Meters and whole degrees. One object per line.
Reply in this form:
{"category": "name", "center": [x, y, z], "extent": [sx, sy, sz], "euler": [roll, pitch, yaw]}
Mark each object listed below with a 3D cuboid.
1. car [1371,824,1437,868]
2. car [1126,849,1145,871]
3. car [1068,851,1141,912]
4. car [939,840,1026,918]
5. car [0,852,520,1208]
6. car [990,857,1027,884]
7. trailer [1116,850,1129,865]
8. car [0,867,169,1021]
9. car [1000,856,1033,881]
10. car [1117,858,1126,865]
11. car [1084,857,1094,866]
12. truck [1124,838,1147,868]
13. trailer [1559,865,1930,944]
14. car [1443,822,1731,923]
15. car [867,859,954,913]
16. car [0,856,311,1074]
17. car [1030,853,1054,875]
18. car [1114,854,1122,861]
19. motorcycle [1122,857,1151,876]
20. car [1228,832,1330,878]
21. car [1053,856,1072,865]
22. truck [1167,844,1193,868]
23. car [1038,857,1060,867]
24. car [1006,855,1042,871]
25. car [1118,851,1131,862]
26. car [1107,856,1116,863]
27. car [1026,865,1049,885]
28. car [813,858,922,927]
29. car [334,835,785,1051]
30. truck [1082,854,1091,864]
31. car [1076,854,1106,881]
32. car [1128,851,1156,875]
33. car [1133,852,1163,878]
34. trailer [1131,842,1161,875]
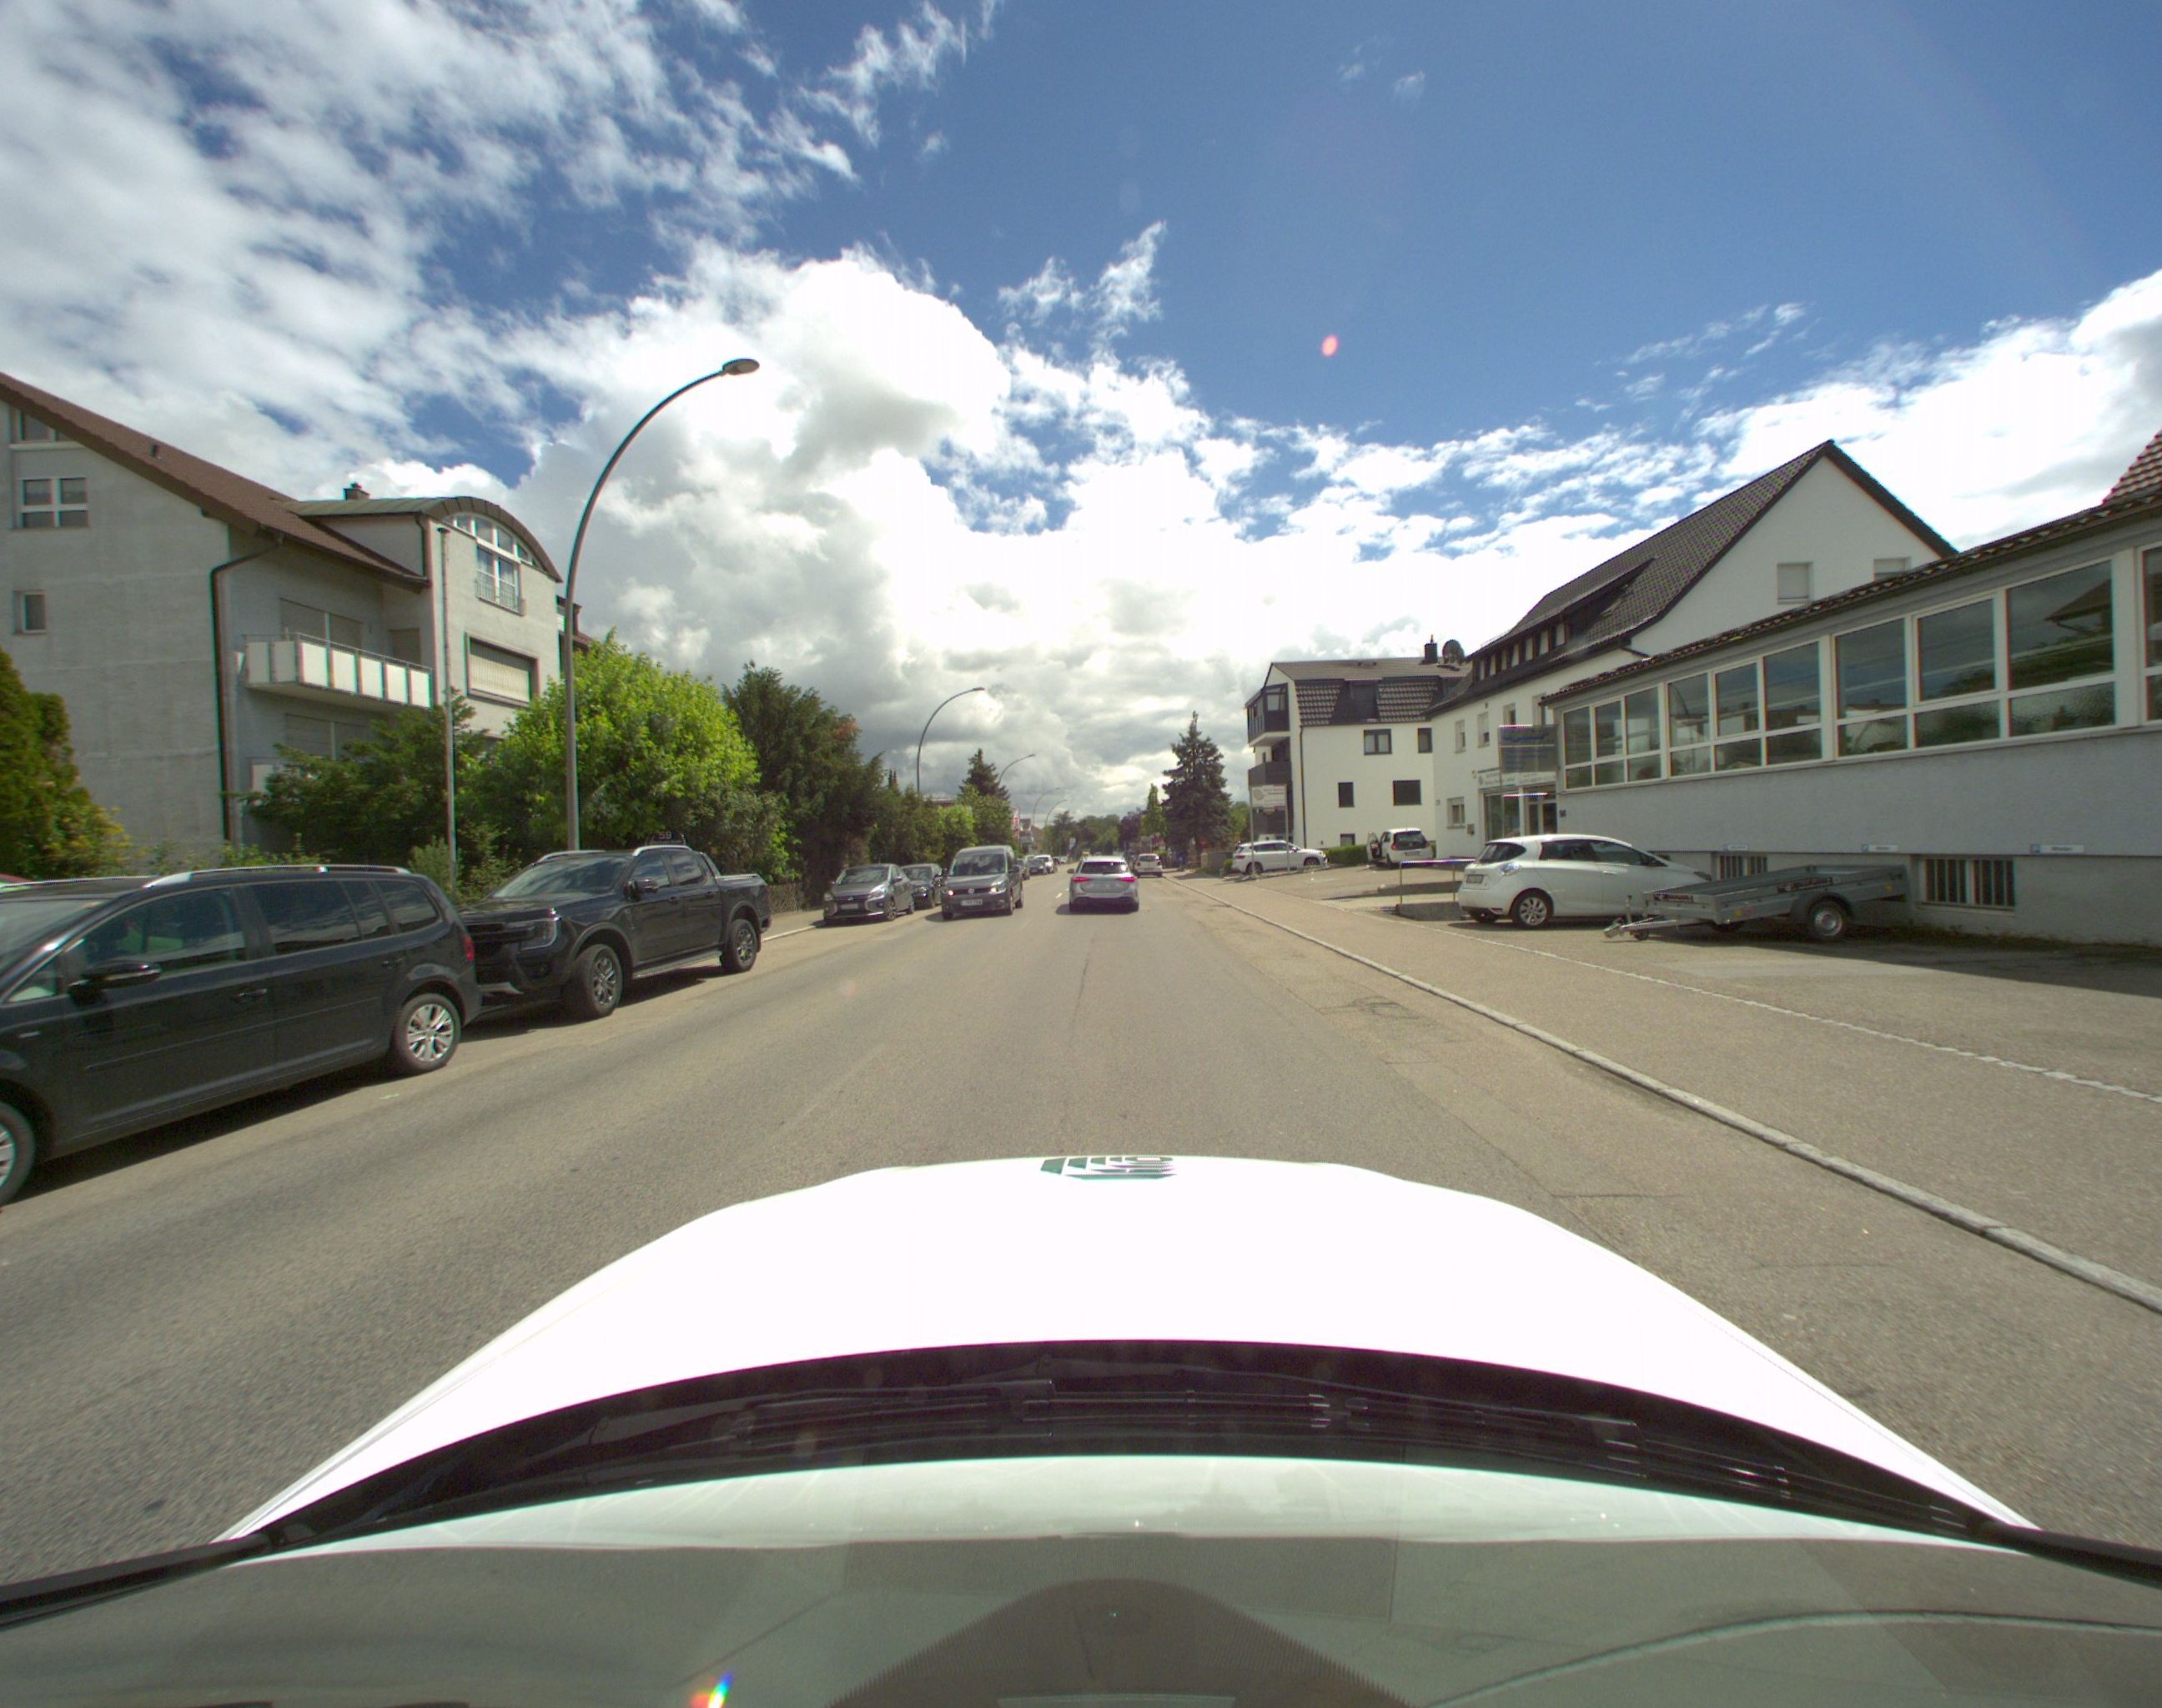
{"category": "car", "center": [12.906, -0.346, 32.748], "extent": [1.622, 1.519, 3.674], "euler": [-5, 1, 9]}
{"category": "car", "center": [5.489, 0.567, 82.441], "extent": [1.866, 2.169, 4.467], "euler": [0, 0, 2]}
{"category": "car", "center": [0.597, 0.691, 22.441], "extent": [1.778, 1.484, 4.316], "euler": [-1, 0, 0]}
{"category": "car", "center": [-2.537, 0.603, 21.868], "extent": [1.657, 1.796, 4.338], "euler": [-3, 0, 1]}
{"category": "car", "center": [-5.935, 0.882, 4.990], "extent": [1.656, 1.680, 4.528], "euler": [-4, 0, 2]}
{"category": "car", "center": [-4.338, 0.982, 49.225], "extent": [1.714, 1.432, 4.199], "euler": [-4, 0, 0]}
{"category": "trailer", "center": [7.021, 0.605, 139.470], "extent": [1.935, 2.294, 4.446], "euler": [-3, -1, 1]}
{"category": "car", "center": [-13.508, 1.051, 9.244], "extent": [1.791, 1.785, 4.325], "euler": [1, -1, -9]}
{"category": "car", "center": [-4.286, 0.908, 54.355], "extent": [1.714, 1.493, 4.735], "euler": [-3, 0, 0]}
{"category": "car", "center": [8.747, 1.647, 175.633], "extent": [1.786, 1.450, 4.362], "euler": [-3, 0, 0]}
{"category": "car", "center": [1.486, 1.350, 153.250], "extent": [1.737, 1.627, 4.357], "euler": [-2, 0, 2]}
{"category": "truck", "center": [5.865, -0.103, 87.899], "extent": [2.311, 3.097, 6.045], "euler": [0, 0, 2]}
{"category": "trailer", "center": [9.028, 0.657, 11.307], "extent": [3.804, 0.808, 1.657], "euler": [-3, 0, 0]}
{"category": "car", "center": [8.559, 0.297, 14.021], "extent": [3.886, 1.608, 1.749], "euler": [-1, 0, 0]}
{"category": "car", "center": [-5.355, 0.961, 26.186], "extent": [1.656, 1.435, 4.340], "euler": [-4, 0, 2]}
{"category": "car", "center": [-9.801, 0.941, 7.202], "extent": [1.786, 1.785, 4.339], "euler": [-1, 0, 1]}
{"category": "car", "center": [-3.606, 0.937, 75.860], "extent": [1.737, 1.838, 4.356], "euler": [-5, 0, 1]}
{"category": "car", "center": [10.627, 1.078, 234.212], "extent": [2.136, 1.984, 5.264], "euler": [-3, 0, 2]}
{"category": "motorcycle", "center": [3.752, 0.846, 54.961], "extent": [1.830, 1.210, 0.710], "euler": [-3, 0, -34]}
{"category": "car", "center": [9.134, 0.041, 37.860], "extent": [4.177, 1.654, 1.867], "euler": [-6, 0, 1]}
{"category": "car", "center": [-4.359, 1.487, 193.631], "extent": [4.265, 1.836, 1.991], "euler": [-3, -4, 0]}
{"category": "truck", "center": [9.771, 0.164, 80.635], "extent": [1.823, 2.081, 5.387], "euler": [-5, 1, 1]}
{"category": "car", "center": [-6.872, 1.762, 176.618], "extent": [4.614, 1.632, 2.196], "euler": [-5, 0, -2]}
{"category": "car", "center": [-7.556, 1.209, 109.032], "extent": [4.639, 1.972, 2.114], "euler": [-2, 0, -2]}
{"category": "car", "center": [6.921, 0.378, 128.316], "extent": [1.933, 1.571, 4.450], "euler": [-3, 0, 4]}
{"category": "car", "center": [6.458, 1.149, 170.503], "extent": [1.749, 1.558, 4.001], "euler": [-2, 0, 1]}
{"category": "car", "center": [-3.723, 1.760, 70.181], "extent": [1.634, 1.487, 4.000], "euler": [-5, 0, 1]}
{"category": "car", "center": [-5.559, 0.934, 21.698], "extent": [1.656, 1.511, 3.946], "euler": [-5, 0, 2]}
{"category": "car", "center": [-5.829, 0.819, 10.273], "extent": [1.904, 1.821, 5.431], "euler": [-6, 0, 2]}
{"category": "truck", "center": [1.623, 1.355, 232.808], "extent": [2.066, 2.814, 7.084], "euler": [-3, 0, 3]}
{"category": "car", "center": [0.592, 0.810, 50.325], "extent": [1.750, 1.558, 4.000], "euler": [-2, 0, 0]}
{"category": "car", "center": [4.798, 0.672, 64.695], "extent": [1.867, 1.727, 4.712], "euler": [-3, 0, 0]}
{"category": "car", "center": [4.230, 0.662, 51.549], "extent": [1.712, 1.432, 3.988], "euler": [-4, 0, 4]}
{"category": "trailer", "center": [4.574, 0.322, 57.667], "extent": [1.766, 2.145, 4.115], "euler": [-3, 0, 1]}
